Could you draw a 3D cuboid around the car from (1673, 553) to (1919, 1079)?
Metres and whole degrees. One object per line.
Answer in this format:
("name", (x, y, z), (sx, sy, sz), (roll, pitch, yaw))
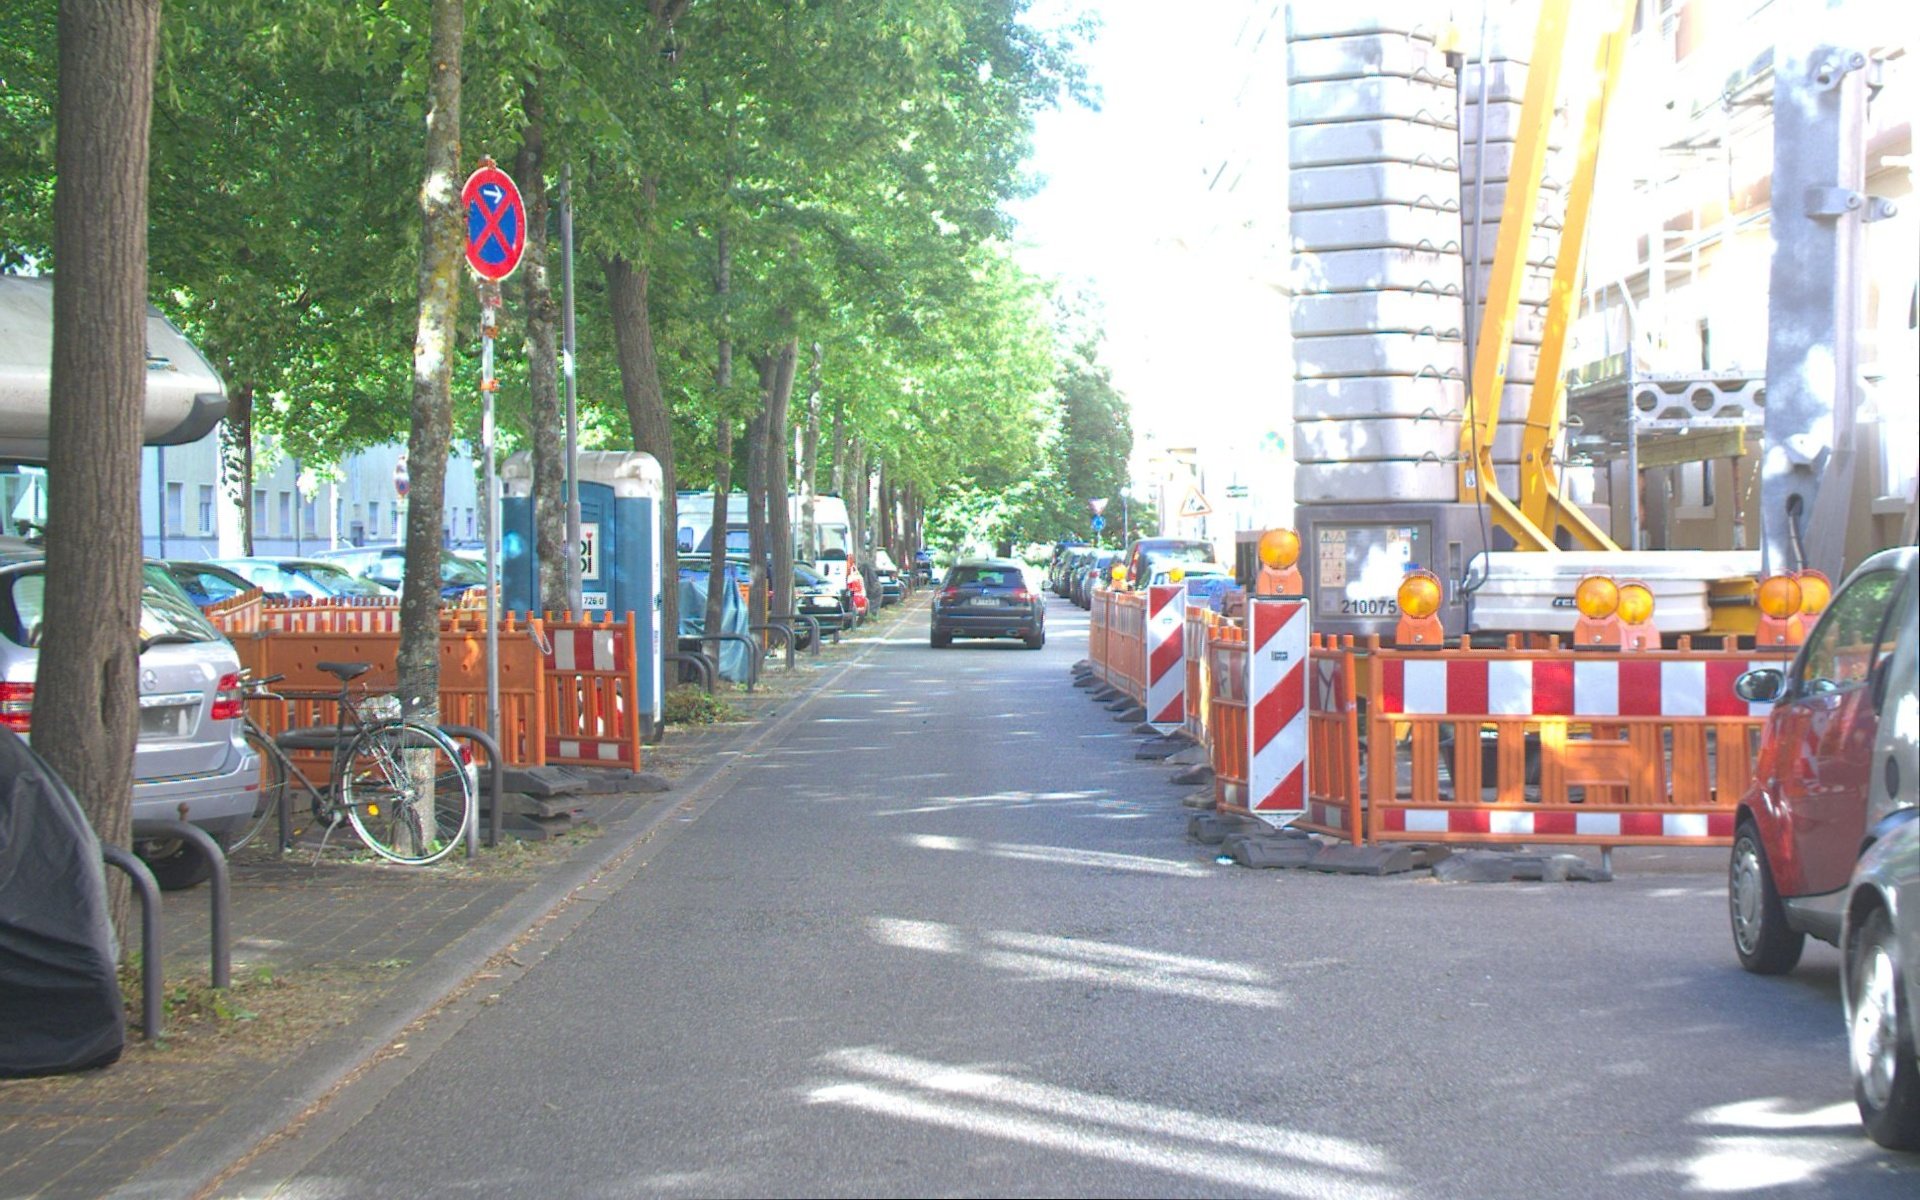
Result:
("car", (3.476, 0.615, 11.447), (1.591, 1.525, 2.781), (0, 1, -1))

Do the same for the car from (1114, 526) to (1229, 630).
("car", (3.768, -0.419, 61.702), (1.797, 1.794, 3.586), (-1, 1, -1))

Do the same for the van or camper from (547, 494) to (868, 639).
("van or camper", (-4.486, -0.586, 60.764), (5.342, 2.466, 2.289), (0, 1, 33))

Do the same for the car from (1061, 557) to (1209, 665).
("car", (2.373, 0.128, 47.363), (1.797, 1.380, 3.586), (-1, 1, -1))

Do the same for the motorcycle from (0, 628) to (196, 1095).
("motorcycle", (-3.565, 0.717, 9.911), (2.551, 1.254, 0.762), (0, 1, 9))

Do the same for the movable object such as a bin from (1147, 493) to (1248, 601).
("movable object such as a bin", (5.085, -1.150, 74.098), (1.797, 2.225, 4.606), (-1, 1, -1))

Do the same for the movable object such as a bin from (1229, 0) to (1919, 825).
("movable object such as a bin", (3.660, -2.229, 19.751), (3.485, 6.736, 2.364), (1, 1, 33))

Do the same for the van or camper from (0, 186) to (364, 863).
("van or camper", (-6.758, -0.379, 19.118), (6.667, 3.229, 2.491), (0, 1, 29))

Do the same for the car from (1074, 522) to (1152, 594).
("car", (3.895, -1.081, 87.930), (1.797, 1.794, 3.586), (-1, 1, -1))

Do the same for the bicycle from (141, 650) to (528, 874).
("bicycle", (-2.986, 0.752, 16.352), (1.899, 1.003, 0.430), (0, 1, 24))

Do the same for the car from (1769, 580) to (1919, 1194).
("car", (3.235, 0.696, 7.147), (1.993, 1.404, 4.501), (0, 1, -1))

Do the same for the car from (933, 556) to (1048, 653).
("car", (0.464, 0.049, 56.265), (1.797, 1.498, 3.586), (-1, 1, -1))

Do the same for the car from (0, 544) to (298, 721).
("car", (-8.626, 0.291, 33.261), (3.993, 1.601, 1.997), (0, 1, 29))

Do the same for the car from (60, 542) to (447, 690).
("car", (-8.117, 0.167, 39.496), (3.993, 1.601, 1.997), (0, 1, 29))

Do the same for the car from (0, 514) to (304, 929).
("car", (-5.059, 0.458, 15.136), (3.958, 1.623, 1.820), (0, 1, 26))
